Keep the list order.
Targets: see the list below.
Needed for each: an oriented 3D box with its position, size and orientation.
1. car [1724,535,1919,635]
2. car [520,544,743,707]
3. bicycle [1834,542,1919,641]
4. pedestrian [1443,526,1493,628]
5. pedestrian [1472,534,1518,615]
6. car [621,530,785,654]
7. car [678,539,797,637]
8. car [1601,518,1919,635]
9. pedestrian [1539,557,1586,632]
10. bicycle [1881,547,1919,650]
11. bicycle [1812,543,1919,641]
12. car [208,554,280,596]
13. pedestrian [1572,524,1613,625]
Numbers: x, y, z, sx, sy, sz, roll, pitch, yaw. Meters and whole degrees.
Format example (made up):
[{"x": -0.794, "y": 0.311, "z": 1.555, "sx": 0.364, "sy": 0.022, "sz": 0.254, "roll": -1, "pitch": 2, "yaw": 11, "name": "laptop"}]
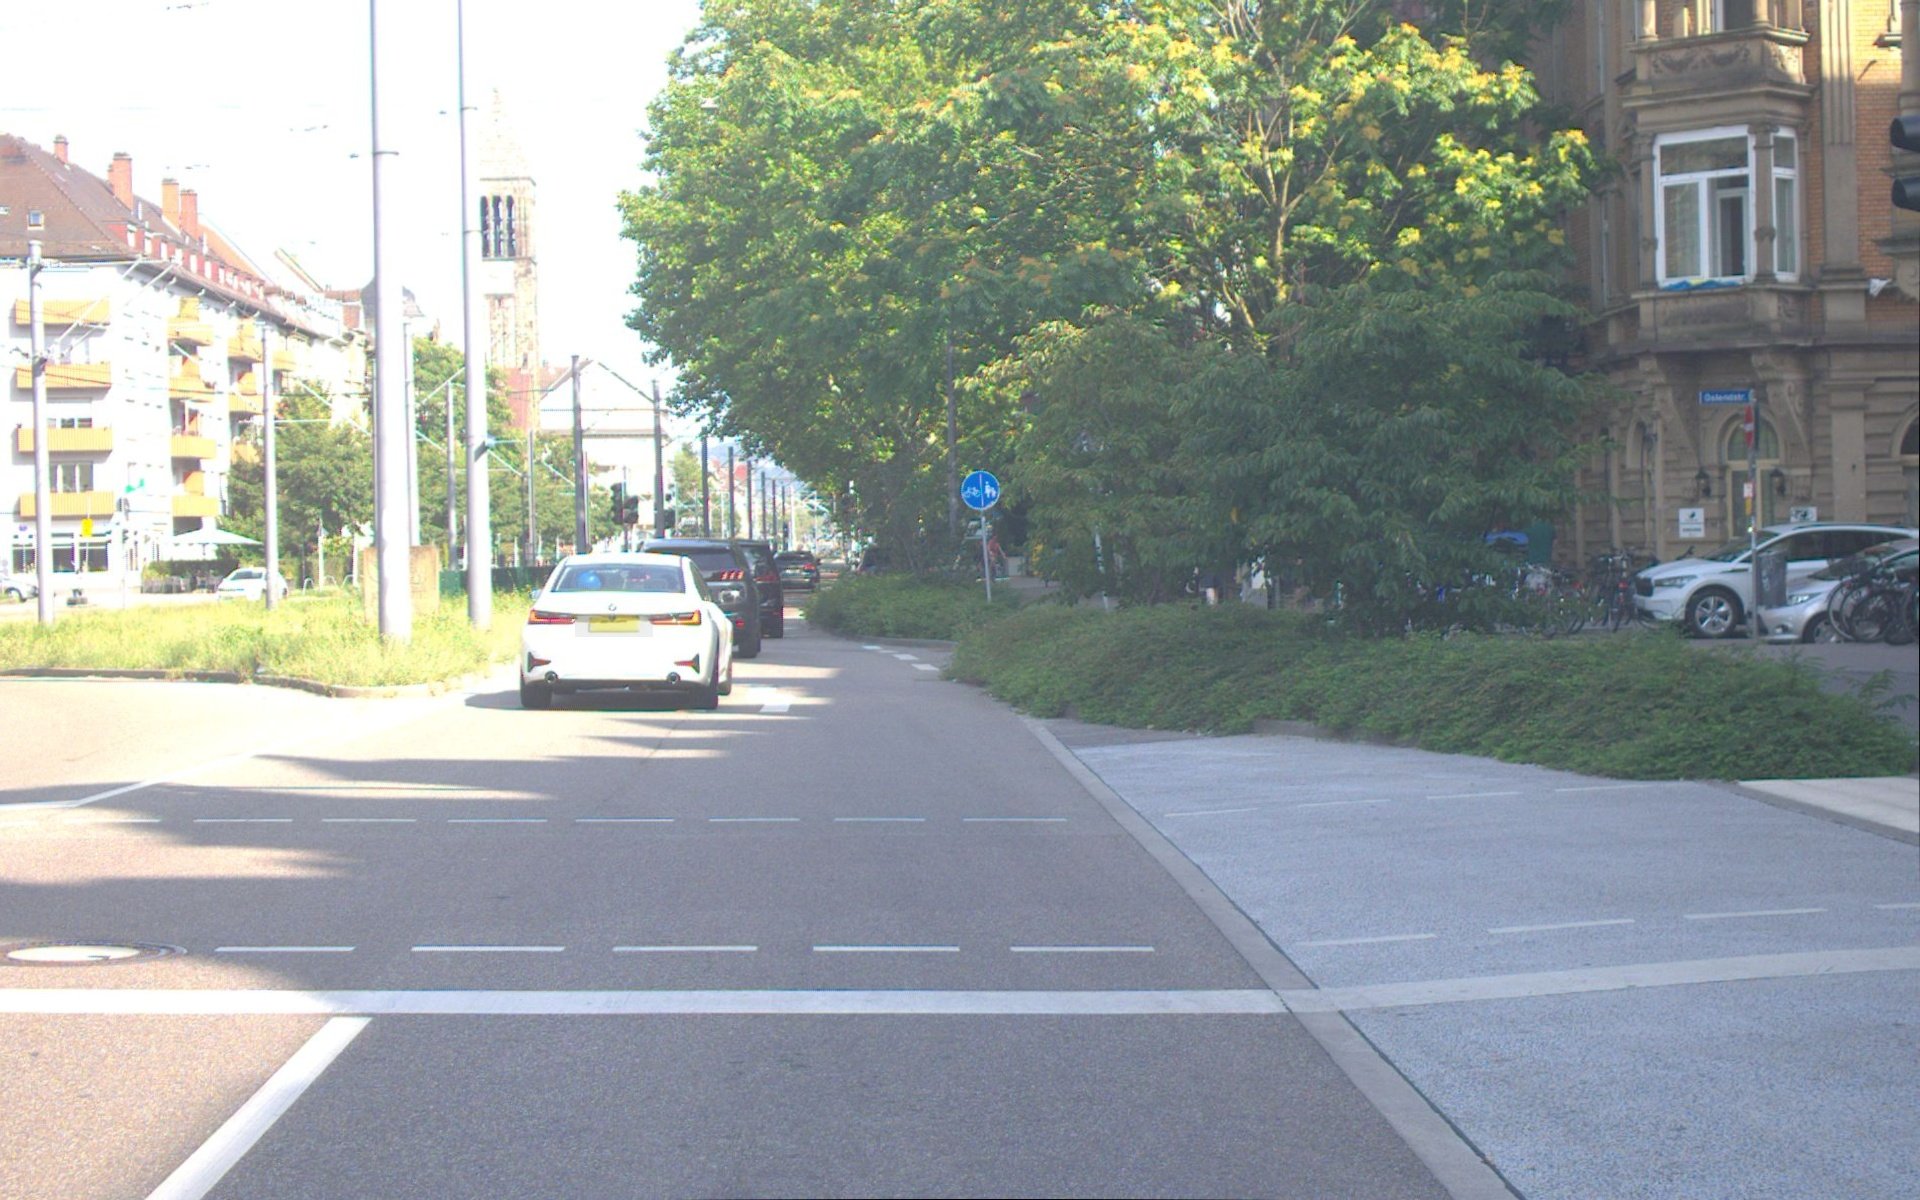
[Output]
[{"x": 12.048, "y": -0.224, "z": 44.410, "sx": 3.936, "sy": 1.218, "sz": 1.548, "roll": -1, "pitch": 1, "yaw": -5, "name": "car"}, {"x": -3.104, "y": 0.191, "z": 33.323, "sx": 1.809, "sy": 1.422, "sz": 4.775, "roll": 1, "pitch": 1, "yaw": -2, "name": "car"}, {"x": 10.544, "y": -0.108, "z": 37.404, "sx": 1.927, "sy": 1.044, "sz": 0.527, "roll": -1, "pitch": 1, "yaw": -7, "name": "bicycle"}, {"x": 7.310, "y": -0.333, "z": 49.484, "sx": 0.573, "sy": 1.449, "sz": 0.731, "roll": -1, "pitch": 1, "yaw": -1, "name": "pedestrian"}, {"x": 8.364, "y": -0.397, "z": 53.754, "sx": 0.597, "sy": 1.244, "sz": 0.507, "roll": -1, "pitch": 1, "yaw": -2, "name": "pedestrian"}, {"x": -3.472, "y": -0.145, "z": 47.163, "sx": 1.993, "sy": 1.615, "sz": 4.357, "roll": 0, "pitch": 1, "yaw": -1, "name": "car"}, {"x": -3.808, "y": -0.241, "z": 59.398, "sx": 1.831, "sy": 1.615, "sz": 4.357, "roll": 0, "pitch": 1, "yaw": -1, "name": "car"}, {"x": 11.594, "y": -0.348, "z": 49.599, "sx": 4.179, "sy": 1.558, "sz": 2.000, "roll": -1, "pitch": 1, "yaw": -5, "name": "car"}, {"x": 8.802, "y": -0.081, "z": 50.201, "sx": 0.443, "sy": 1.067, "sz": 0.487, "roll": -2, "pitch": 1, "yaw": -32, "name": "pedestrian"}, {"x": 10.506, "y": -0.036, "z": 35.353, "sx": 1.927, "sy": 1.044, "sz": 0.527, "roll": -1, "pitch": 1, "yaw": -7, "name": "bicycle"}, {"x": 10.514, "y": -0.101, "z": 38.263, "sx": 1.927, "sy": 1.044, "sz": 0.527, "roll": -1, "pitch": 1, "yaw": -7, "name": "bicycle"}, {"x": -26.540, "y": -0.935, "z": 127.522, "sx": 1.993, "sy": 1.495, "sz": 4.001, "roll": -1, "pitch": 1, "yaw": -3, "name": "car"}, {"x": 9.525, "y": -0.386, "z": 51.786, "sx": 0.443, "sy": 1.501, "sz": 0.487, "roll": -1, "pitch": 1, "yaw": -6, "name": "pedestrian"}]
